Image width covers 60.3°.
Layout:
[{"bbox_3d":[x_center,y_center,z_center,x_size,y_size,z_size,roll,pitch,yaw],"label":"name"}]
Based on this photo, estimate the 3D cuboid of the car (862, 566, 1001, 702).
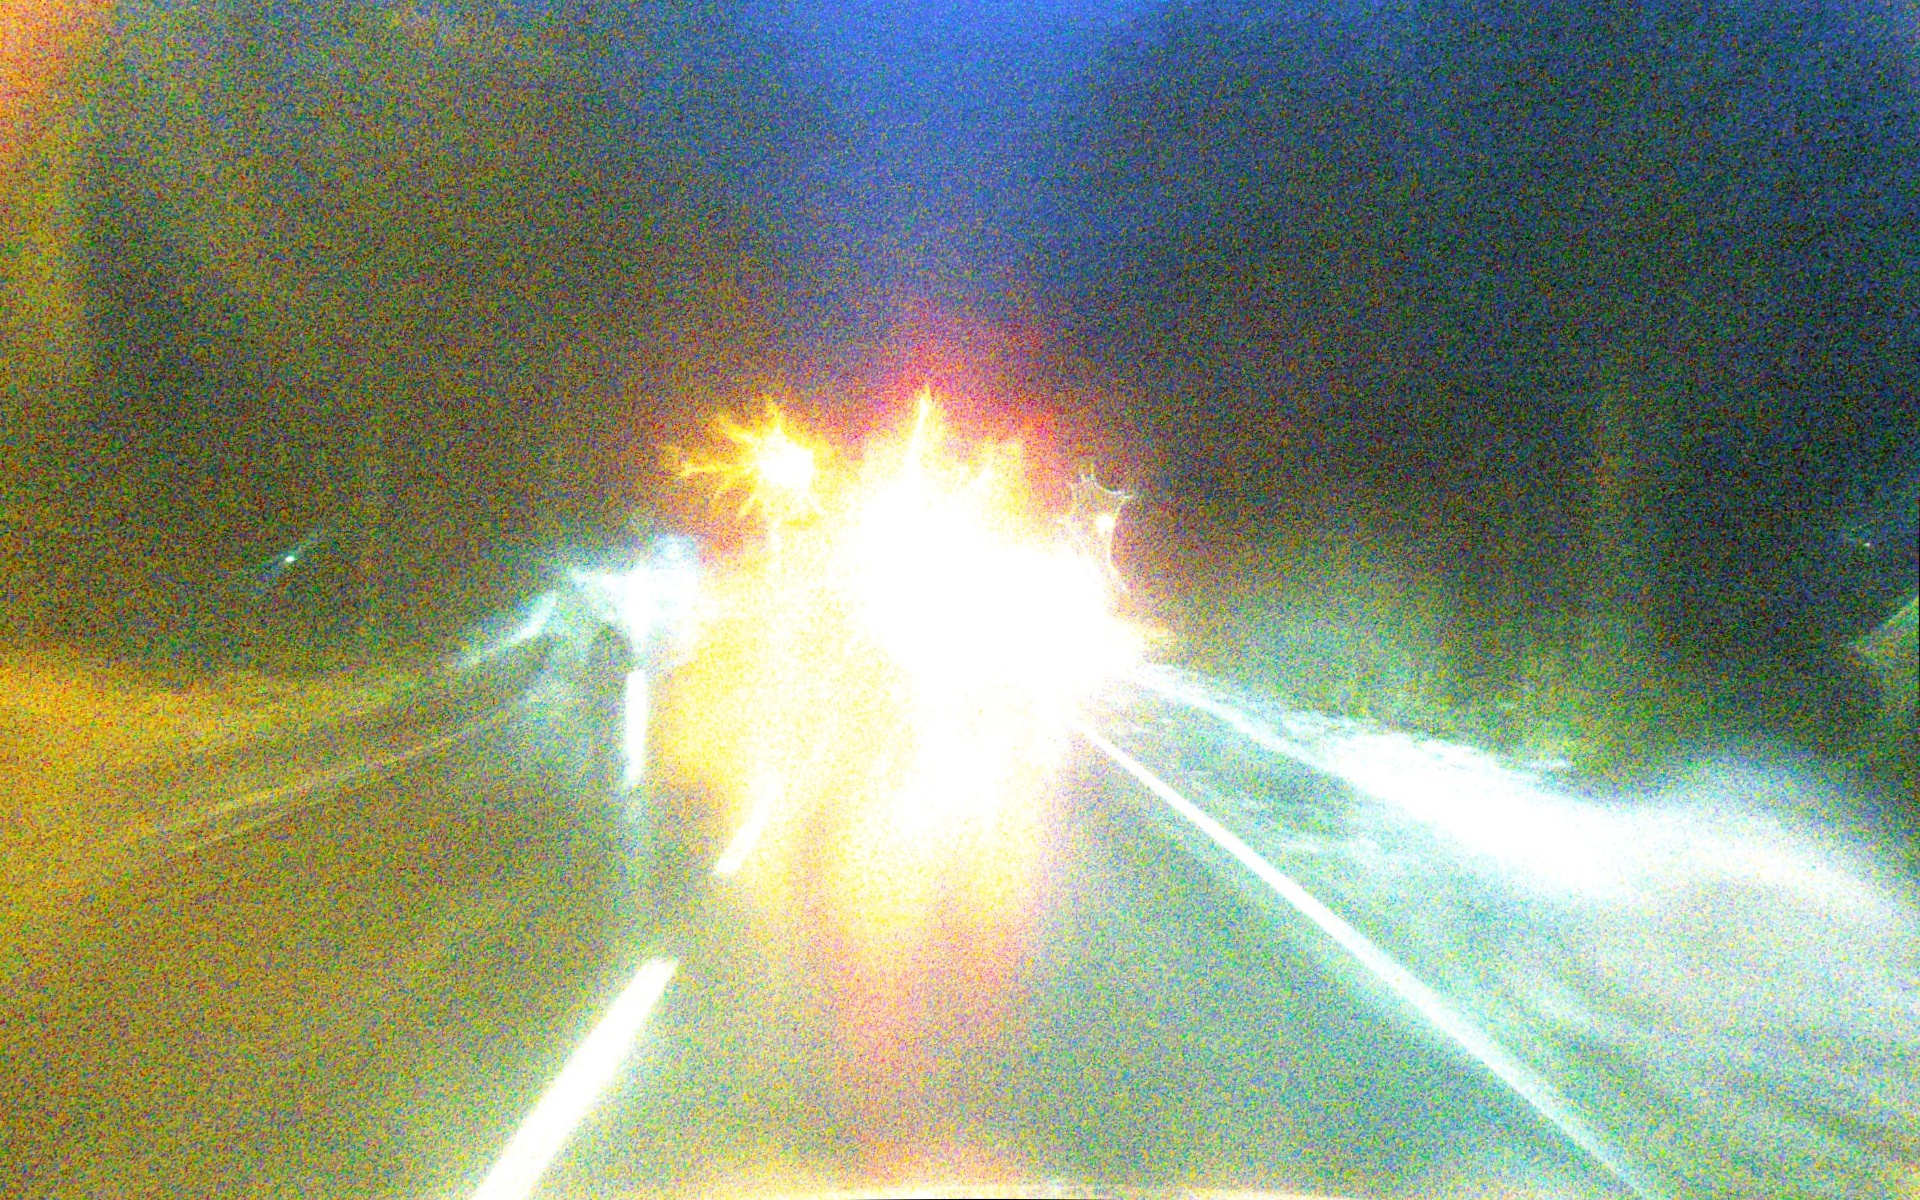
[{"bbox_3d":[-0.351,0.394,22.875,1.754,1.710,3.905,0,1,0],"label":"car"}]
